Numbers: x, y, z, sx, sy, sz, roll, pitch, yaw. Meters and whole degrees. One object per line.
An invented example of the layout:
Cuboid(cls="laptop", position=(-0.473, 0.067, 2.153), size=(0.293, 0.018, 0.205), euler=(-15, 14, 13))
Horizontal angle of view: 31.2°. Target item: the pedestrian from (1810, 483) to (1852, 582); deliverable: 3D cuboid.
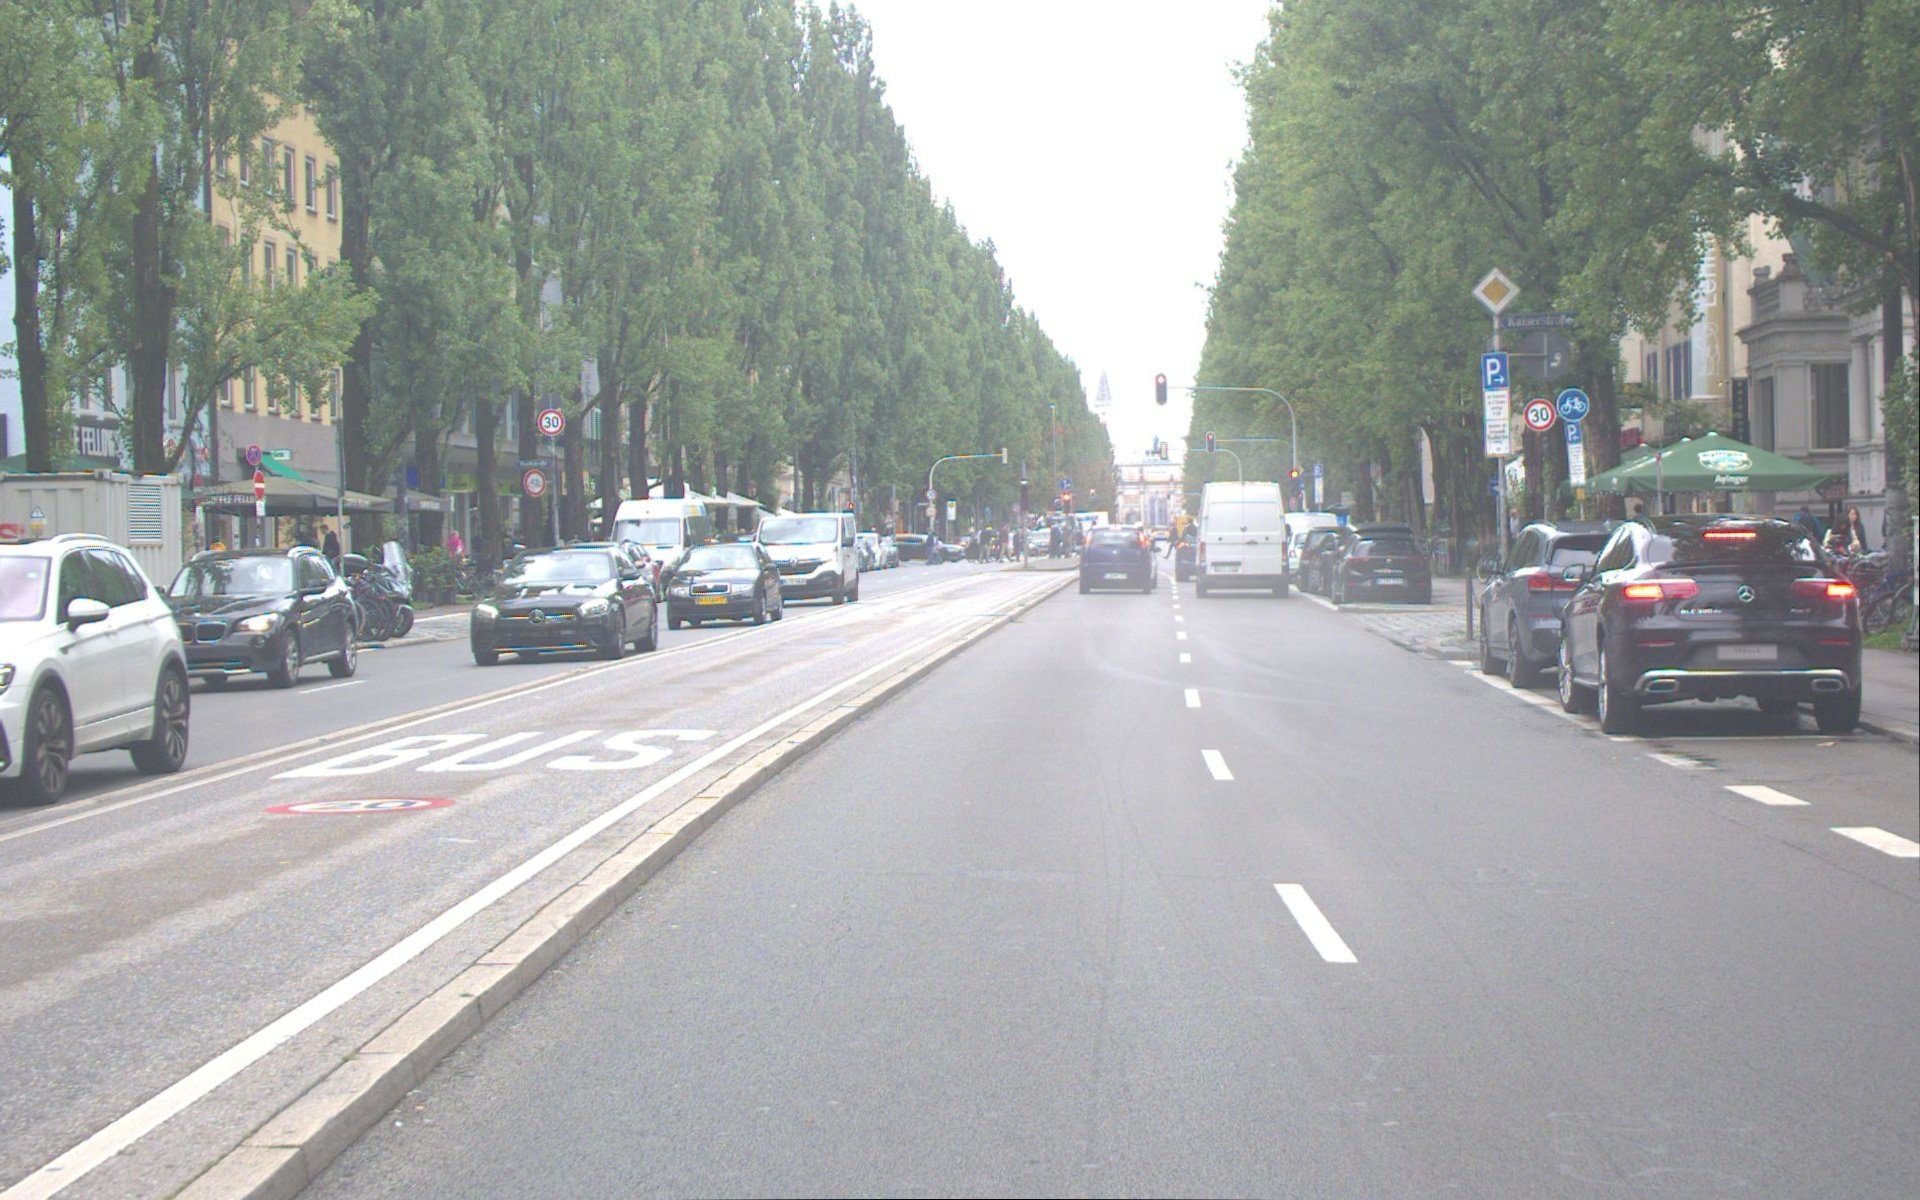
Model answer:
Cuboid(cls="pedestrian", position=(14.626, -1.126, 57.724), size=(0.648, 1.641, 0.765), euler=(0, 0, 12))

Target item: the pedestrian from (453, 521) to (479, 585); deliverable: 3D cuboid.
Cuboid(cls="pedestrian", position=(-14.402, -1.361, 100.220), size=(0.582, 1.850, 0.675), euler=(-1, 1, 2))

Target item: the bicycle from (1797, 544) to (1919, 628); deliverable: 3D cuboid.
Cuboid(cls="bicycle", position=(11.703, -0.187, 43.474), size=(2.053, 1.020, 0.691), euler=(-1, 1, -7))

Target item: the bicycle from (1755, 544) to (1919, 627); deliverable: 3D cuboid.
Cuboid(cls="bicycle", position=(11.430, -0.198, 44.691), size=(2.053, 1.020, 0.691), euler=(-1, 1, -16))

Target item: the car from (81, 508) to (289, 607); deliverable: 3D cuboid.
Cuboid(cls="car", position=(-10.372, -0.588, 46.272), size=(1.810, 1.246, 3.700), euler=(-1, 1, 2))

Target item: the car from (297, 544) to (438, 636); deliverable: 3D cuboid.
Cuboid(cls="car", position=(-9.359, -0.176, 54.460), size=(1.512, 1.340, 3.237), euler=(-2, 1, 2))

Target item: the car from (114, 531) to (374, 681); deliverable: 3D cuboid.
Cuboid(cls="car", position=(-8.053, 0.050, 39.034), size=(1.849, 1.559, 4.211), euler=(-1, 0, 3))

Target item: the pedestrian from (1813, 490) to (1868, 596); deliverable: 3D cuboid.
Cuboid(cls="pedestrian", position=(13.776, -0.899, 53.792), size=(0.669, 1.645, 0.625), euler=(0, 1, 30))

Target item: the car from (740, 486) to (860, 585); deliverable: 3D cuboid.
Cuboid(cls="car", position=(-3.370, -1.356, 73.368), size=(1.994, 1.927, 4.918), euler=(-3, 1, 3))

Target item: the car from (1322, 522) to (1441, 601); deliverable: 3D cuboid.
Cuboid(cls="car", position=(8.234, -0.773, 67.434), size=(1.944, 1.462, 4.000), euler=(-1, 1, 2))

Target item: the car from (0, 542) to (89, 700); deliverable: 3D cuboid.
Cuboid(cls="car", position=(-10.611, 0.234, 35.409), size=(1.849, 1.559, 4.332), euler=(-1, 2, 4))

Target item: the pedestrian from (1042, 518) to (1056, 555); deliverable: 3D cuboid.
Cuboid(cls="pedestrian", position=(4.174, -2.994, 161.221), size=(0.553, 1.710, 0.493), euler=(-2, 1, 4))

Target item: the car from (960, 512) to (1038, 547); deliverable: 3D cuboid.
Cuboid(cls="car", position=(2.084, -3.765, 183.941), size=(3.986, 1.739, 2.000), euler=(-2, 1, -2))

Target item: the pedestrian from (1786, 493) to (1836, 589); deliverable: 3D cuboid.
Cuboid(cls="pedestrian", position=(16.704, -1.161, 67.458), size=(0.760, 1.847, 0.740), euler=(-1, 1, 0))

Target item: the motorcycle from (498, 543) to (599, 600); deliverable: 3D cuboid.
Cuboid(cls="motorcycle", position=(-8.796, -0.632, 73.717), size=(1.238, 1.136, 3.716), euler=(-1, 1, 8))

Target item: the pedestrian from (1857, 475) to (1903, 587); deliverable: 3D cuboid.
Cuboid(cls="pedestrian", position=(15.470, -1.152, 57.848), size=(0.701, 1.866, 0.765), euler=(0, 0, 12))

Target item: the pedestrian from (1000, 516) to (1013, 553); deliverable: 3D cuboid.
Cuboid(cls="pedestrian", position=(2.178, -3.088, 161.460), size=(0.553, 1.710, 0.493), euler=(-2, 1, 4))

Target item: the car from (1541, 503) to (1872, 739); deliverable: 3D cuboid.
Cuboid(cls="car", position=(5.672, 0.094, 26.635), size=(1.881, 1.636, 4.582), euler=(-1, 1, 5))

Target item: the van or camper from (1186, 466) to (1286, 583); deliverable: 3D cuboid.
Cuboid(cls="van or camper", position=(6.090, -1.635, 76.269), size=(2.035, 2.467, 4.000), euler=(-1, 0, 3))

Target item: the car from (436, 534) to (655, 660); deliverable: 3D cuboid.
Cuboid(cls="car", position=(-5.281, -0.082, 44.376), size=(1.994, 1.427, 4.772), euler=(-2, 1, 3))

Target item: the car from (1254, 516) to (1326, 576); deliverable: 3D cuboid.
Cuboid(cls="car", position=(8.977, -1.460, 93.762), size=(1.763, 1.590, 4.000), euler=(0, 0, 3))

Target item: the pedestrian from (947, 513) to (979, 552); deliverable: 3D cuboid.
Cuboid(cls="pedestrian", position=(0.146, -3.386, 172.121), size=(1.137, 1.910, 1.153), euler=(-2, 1, -28))

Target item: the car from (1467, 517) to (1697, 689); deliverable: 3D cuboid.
Cuboid(cls="car", position=(6.079, -0.023, 34.023), size=(1.624, 1.560, 4.371), euler=(-1, 1, 2))

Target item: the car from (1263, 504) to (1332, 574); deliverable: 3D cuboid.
Cuboid(cls="car", position=(9.768, -1.739, 99.760), size=(1.805, 1.985, 4.000), euler=(0, 0, 3))

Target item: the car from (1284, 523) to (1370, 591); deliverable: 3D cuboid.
Cuboid(cls="car", position=(8.758, -1.017, 82.234), size=(1.805, 1.590, 4.000), euler=(0, 0, 3))

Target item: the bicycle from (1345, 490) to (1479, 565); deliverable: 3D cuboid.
Cuboid(cls="bicycle", position=(12.384, -1.980, 94.118), size=(3.551, 2.007, 1.296), euler=(0, 0, 12))

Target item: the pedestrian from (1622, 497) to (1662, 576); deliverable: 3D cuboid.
Cuboid(cls="pedestrian", position=(15.401, -1.433, 77.639), size=(0.813, 1.749, 0.933), euler=(-1, 1, 13))

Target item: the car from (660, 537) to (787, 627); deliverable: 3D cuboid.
Cuboid(cls="car", position=(-3.969, -0.324, 58.200), size=(1.712, 1.409, 3.723), euler=(-1, 1, 2))

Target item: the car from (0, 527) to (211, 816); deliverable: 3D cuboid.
Cuboid(cls="car", position=(-6.320, 0.388, 21.846), size=(1.939, 1.636, 4.463), euler=(-2, 1, 2))

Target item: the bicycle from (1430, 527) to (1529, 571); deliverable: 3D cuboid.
Cuboid(cls="bicycle", position=(12.486, -1.221, 82.775), size=(0.759, 1.020, 2.734), euler=(-2, 2, -32))

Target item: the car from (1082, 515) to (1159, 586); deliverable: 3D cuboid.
Cuboid(cls="car", position=(3.778, -1.145, 80.576), size=(1.759, 1.614, 3.746), euler=(0, 0, 3))

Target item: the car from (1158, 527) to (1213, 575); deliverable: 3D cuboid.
Cuboid(cls="car", position=(6.392, -1.393, 97.638), size=(1.504, 1.308, 3.283), euler=(-1, 1, 3))

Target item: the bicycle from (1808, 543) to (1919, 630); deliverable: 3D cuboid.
Cuboid(cls="bicycle", position=(11.365, -0.174, 41.688), size=(2.054, 1.020, 0.691), euler=(-1, 1, 11))

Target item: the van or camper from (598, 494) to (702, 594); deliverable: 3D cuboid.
Cuboid(cls="van or camper", position=(-7.811, -1.429, 86.951), size=(1.994, 2.450, 4.251), euler=(-1, 1, 3))
